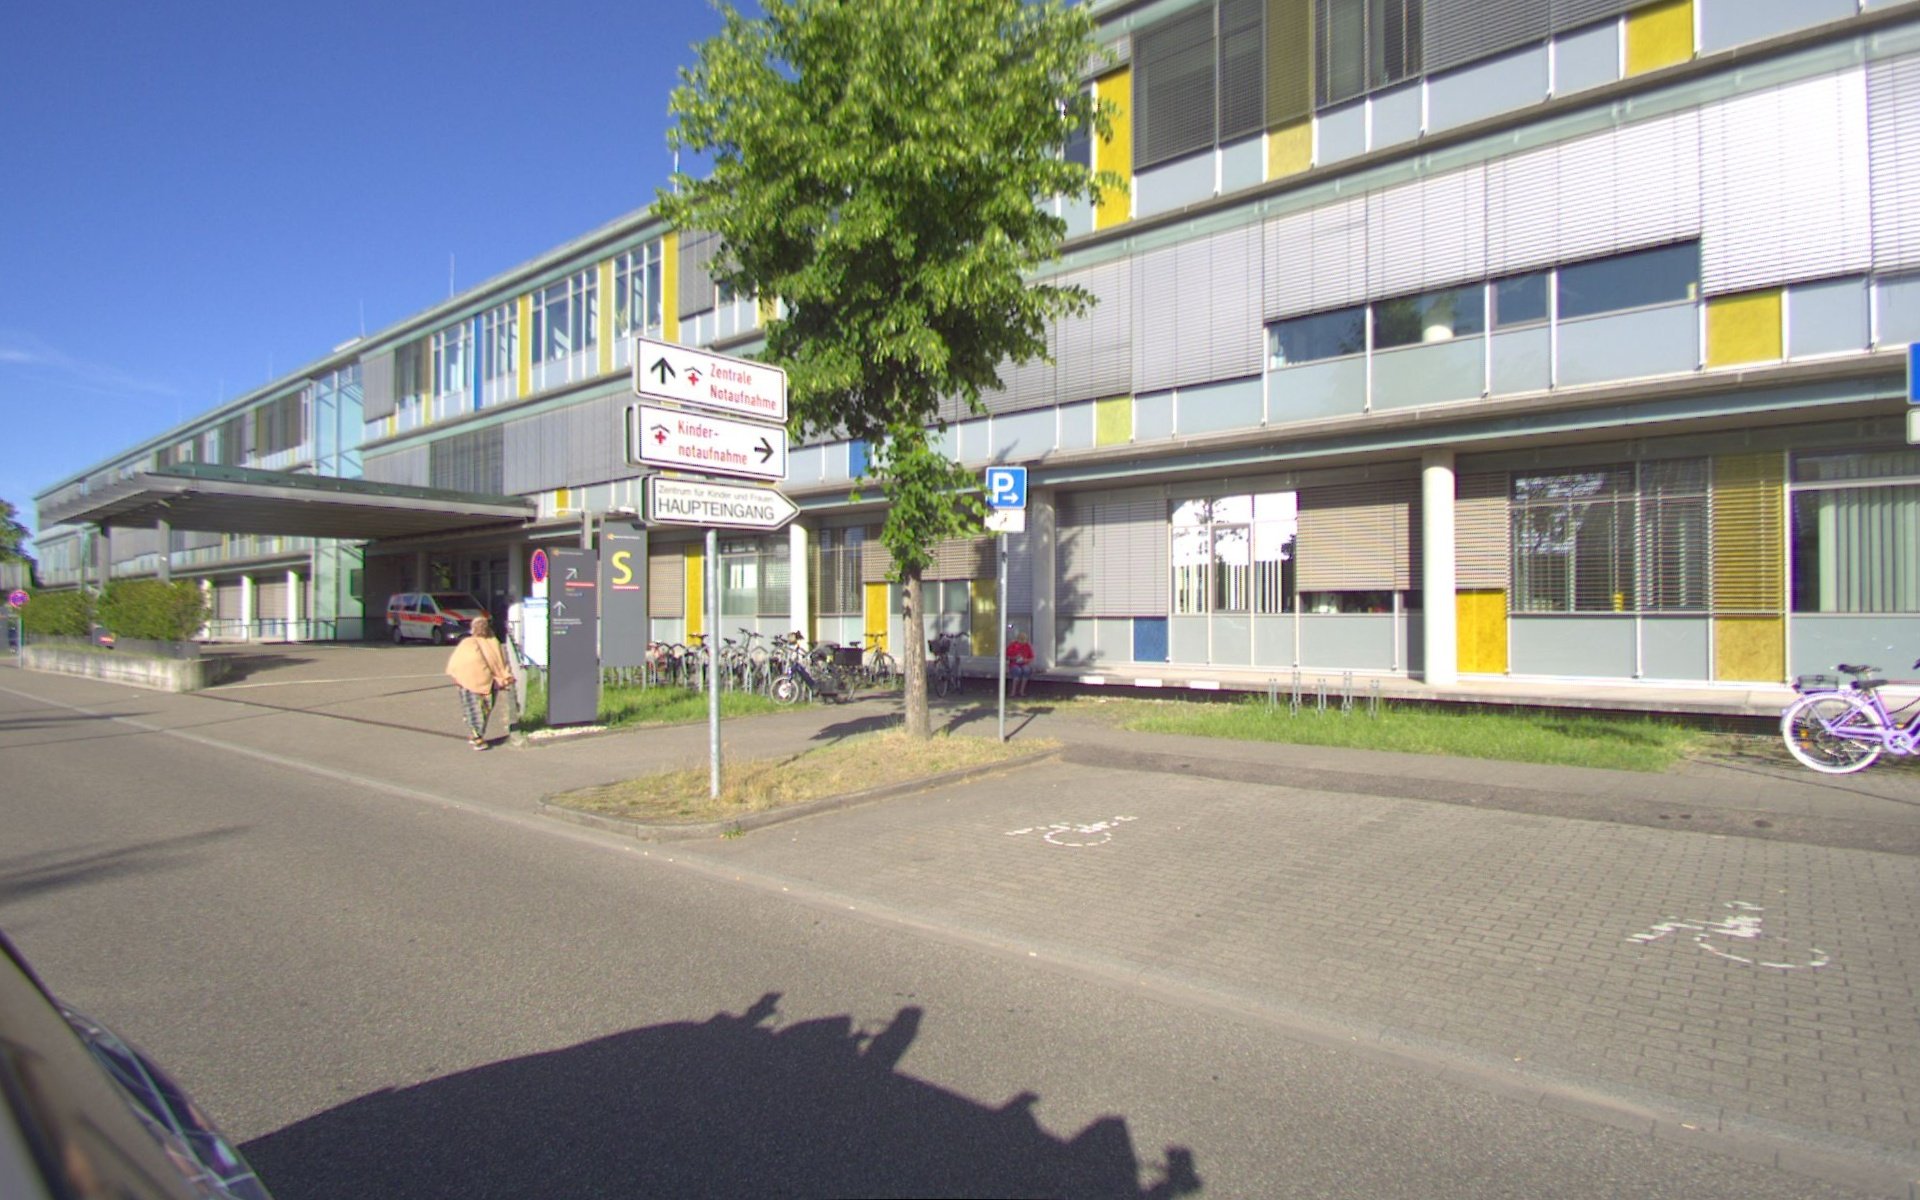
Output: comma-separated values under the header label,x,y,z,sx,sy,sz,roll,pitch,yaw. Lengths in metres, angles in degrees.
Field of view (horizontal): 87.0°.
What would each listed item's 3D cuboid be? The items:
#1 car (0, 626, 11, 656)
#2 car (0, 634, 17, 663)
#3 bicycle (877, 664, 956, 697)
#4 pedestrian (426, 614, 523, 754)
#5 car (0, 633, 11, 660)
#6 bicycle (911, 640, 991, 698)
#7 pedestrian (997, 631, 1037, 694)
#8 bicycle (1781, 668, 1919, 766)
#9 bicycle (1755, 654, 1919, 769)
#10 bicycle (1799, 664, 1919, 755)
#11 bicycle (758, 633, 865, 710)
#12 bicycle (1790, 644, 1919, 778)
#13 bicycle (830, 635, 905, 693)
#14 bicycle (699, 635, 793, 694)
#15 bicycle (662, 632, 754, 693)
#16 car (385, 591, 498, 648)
label,x,y,z,sx,sy,sz,roll,pitch,yaw
car,-54.411,2.267,54.779,1.957,1.664,4.181,-1,-1,37
car,-50.724,2.508,51.316,1.751,1.478,4.091,-2,-1,38
bicycle,-0.816,1.524,19.350,0.535,0.555,1.698,-2,-2,38
pedestrian,-5.754,0.959,12.004,0.779,1.561,0.765,-1,0,40
car,-52.628,2.475,53.073,1.728,1.448,3.950,-1,-1,37
bicycle,-0.148,1.266,18.848,0.535,1.001,1.698,-2,-2,38
pedestrian,1.083,1.186,19.354,0.555,1.182,0.526,-2,-2,41
bicycle,8.799,1.106,9.668,1.450,0.870,0.365,-2,-2,41
bicycle,8.366,1.020,9.450,1.450,0.996,0.391,-2,-2,41
bicycle,9.535,1.115,10.346,1.450,0.880,0.252,-2,-2,41
bicycle,-2.321,1.099,15.982,1.683,1.130,0.536,1,-2,-45
bicycle,8.380,0.950,8.728,1.860,1.120,0.529,-2,-2,41
bicycle,-1.900,1.307,20.950,0.535,1.132,1.698,-2,-2,38
bicycle,-3.775,1.124,17.981,0.535,0.981,1.698,-2,-2,38
bicycle,-4.647,1.137,18.741,0.535,1.063,1.698,-2,-2,38
car,-18.453,0.714,35.939,4.707,1.905,1.900,-2,-2,40
